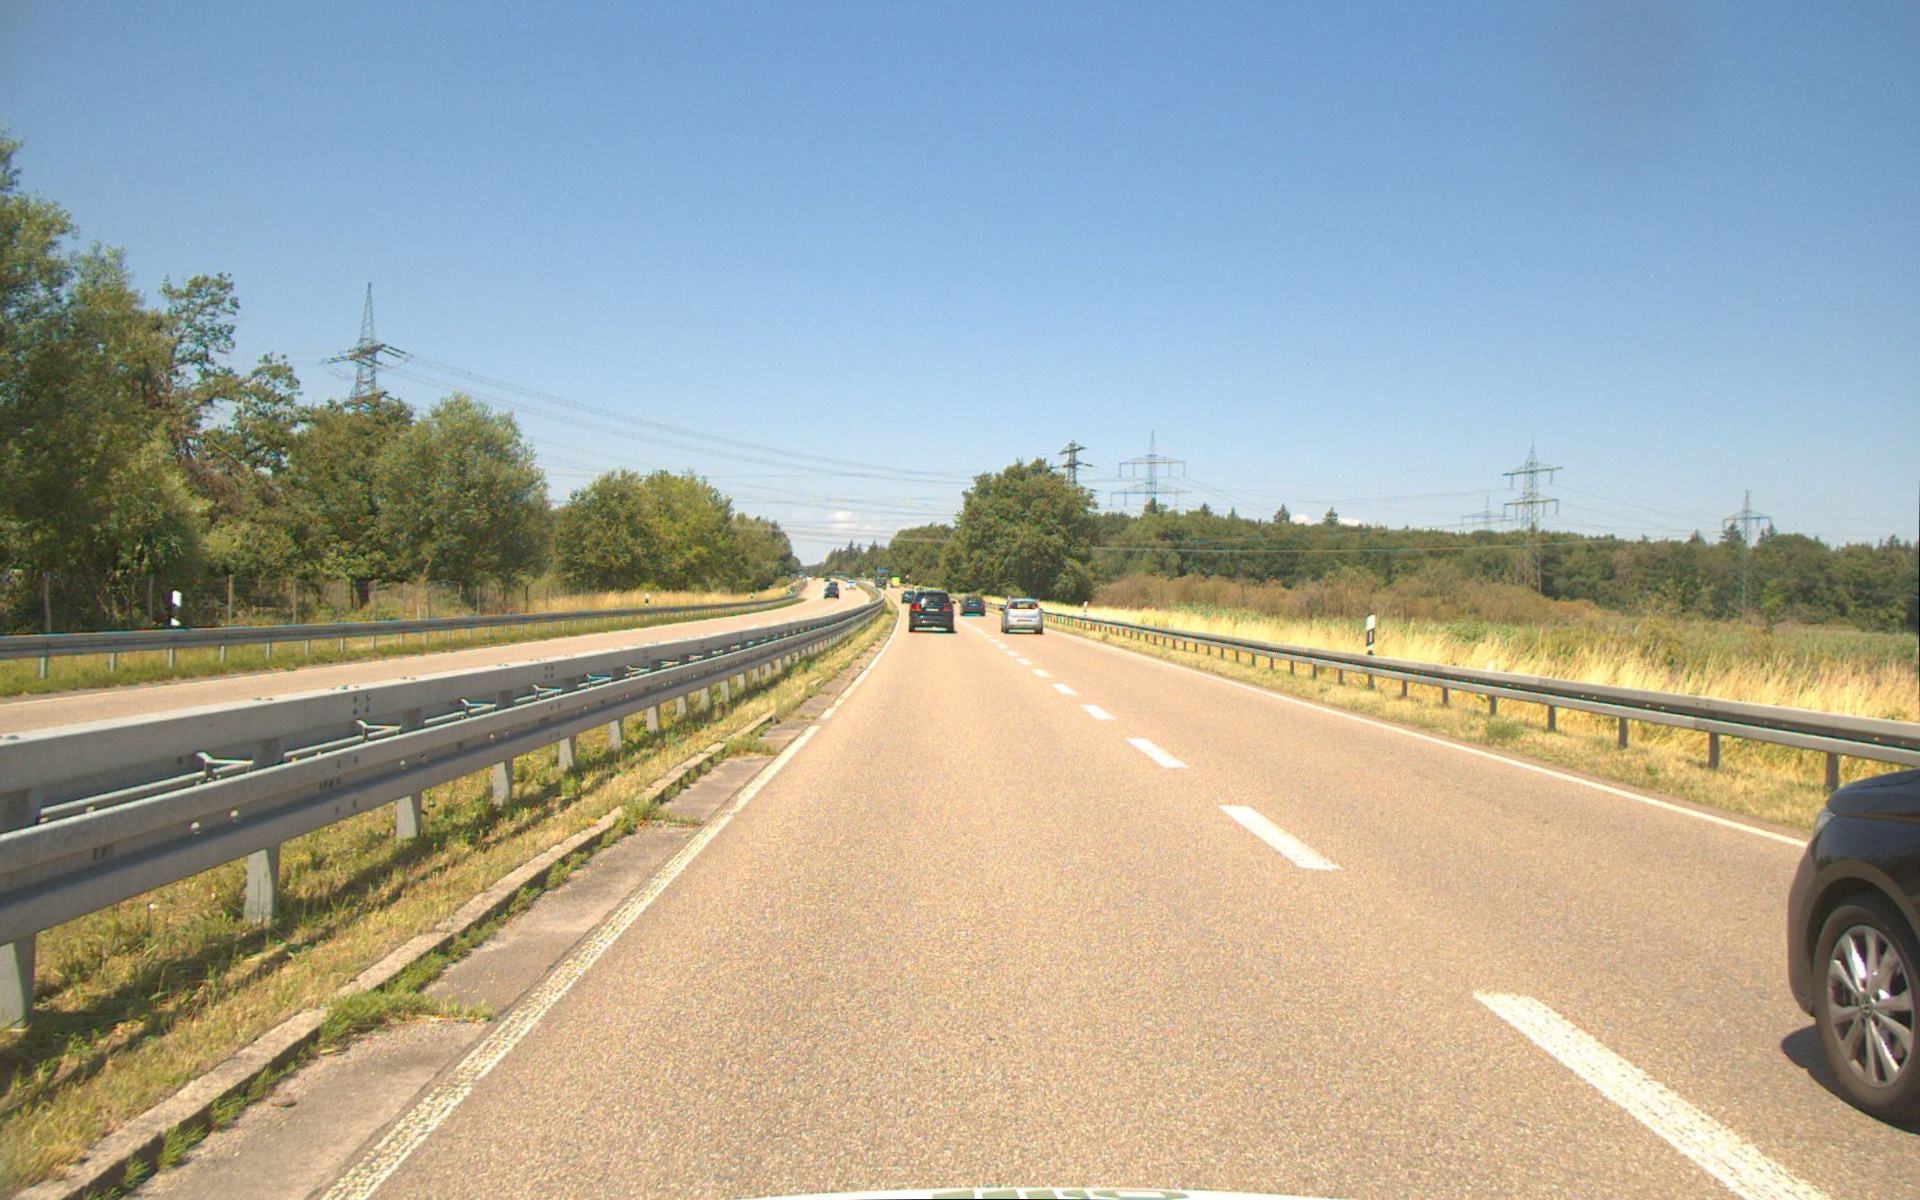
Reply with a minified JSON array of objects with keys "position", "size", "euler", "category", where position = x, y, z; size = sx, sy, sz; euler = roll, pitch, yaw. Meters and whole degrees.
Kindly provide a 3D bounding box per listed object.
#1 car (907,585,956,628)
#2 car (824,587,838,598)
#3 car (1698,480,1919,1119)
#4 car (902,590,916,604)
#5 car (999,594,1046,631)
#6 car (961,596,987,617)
[{"position":[-1.194,0.248,69.574],"size":[1.953,1.683,3.999],"euler":[2,0,-1],"category":"car"},{"position":[-17.235,-1.007,220.674],"size":[1.795,1.501,3.682],"euler":[0,0,-3],"category":"car"},{"position":[3.676,0.593,4.062],"size":[1.744,1.848,4.212],"euler":[1,0,-1],"category":"car"},{"position":[-5.845,-0.321,187.888],"size":[1.484,1.501,3.064],"euler":[2,0,-3],"category":"car"},{"position":[2.649,0.516,70.761],"size":[1.743,1.505,4.314],"euler":[2,0,-1],"category":"car"},{"position":[0.983,0.442,120.289],"size":[1.782,1.439,3.999],"euler":[2,0,-1],"category":"car"}]
